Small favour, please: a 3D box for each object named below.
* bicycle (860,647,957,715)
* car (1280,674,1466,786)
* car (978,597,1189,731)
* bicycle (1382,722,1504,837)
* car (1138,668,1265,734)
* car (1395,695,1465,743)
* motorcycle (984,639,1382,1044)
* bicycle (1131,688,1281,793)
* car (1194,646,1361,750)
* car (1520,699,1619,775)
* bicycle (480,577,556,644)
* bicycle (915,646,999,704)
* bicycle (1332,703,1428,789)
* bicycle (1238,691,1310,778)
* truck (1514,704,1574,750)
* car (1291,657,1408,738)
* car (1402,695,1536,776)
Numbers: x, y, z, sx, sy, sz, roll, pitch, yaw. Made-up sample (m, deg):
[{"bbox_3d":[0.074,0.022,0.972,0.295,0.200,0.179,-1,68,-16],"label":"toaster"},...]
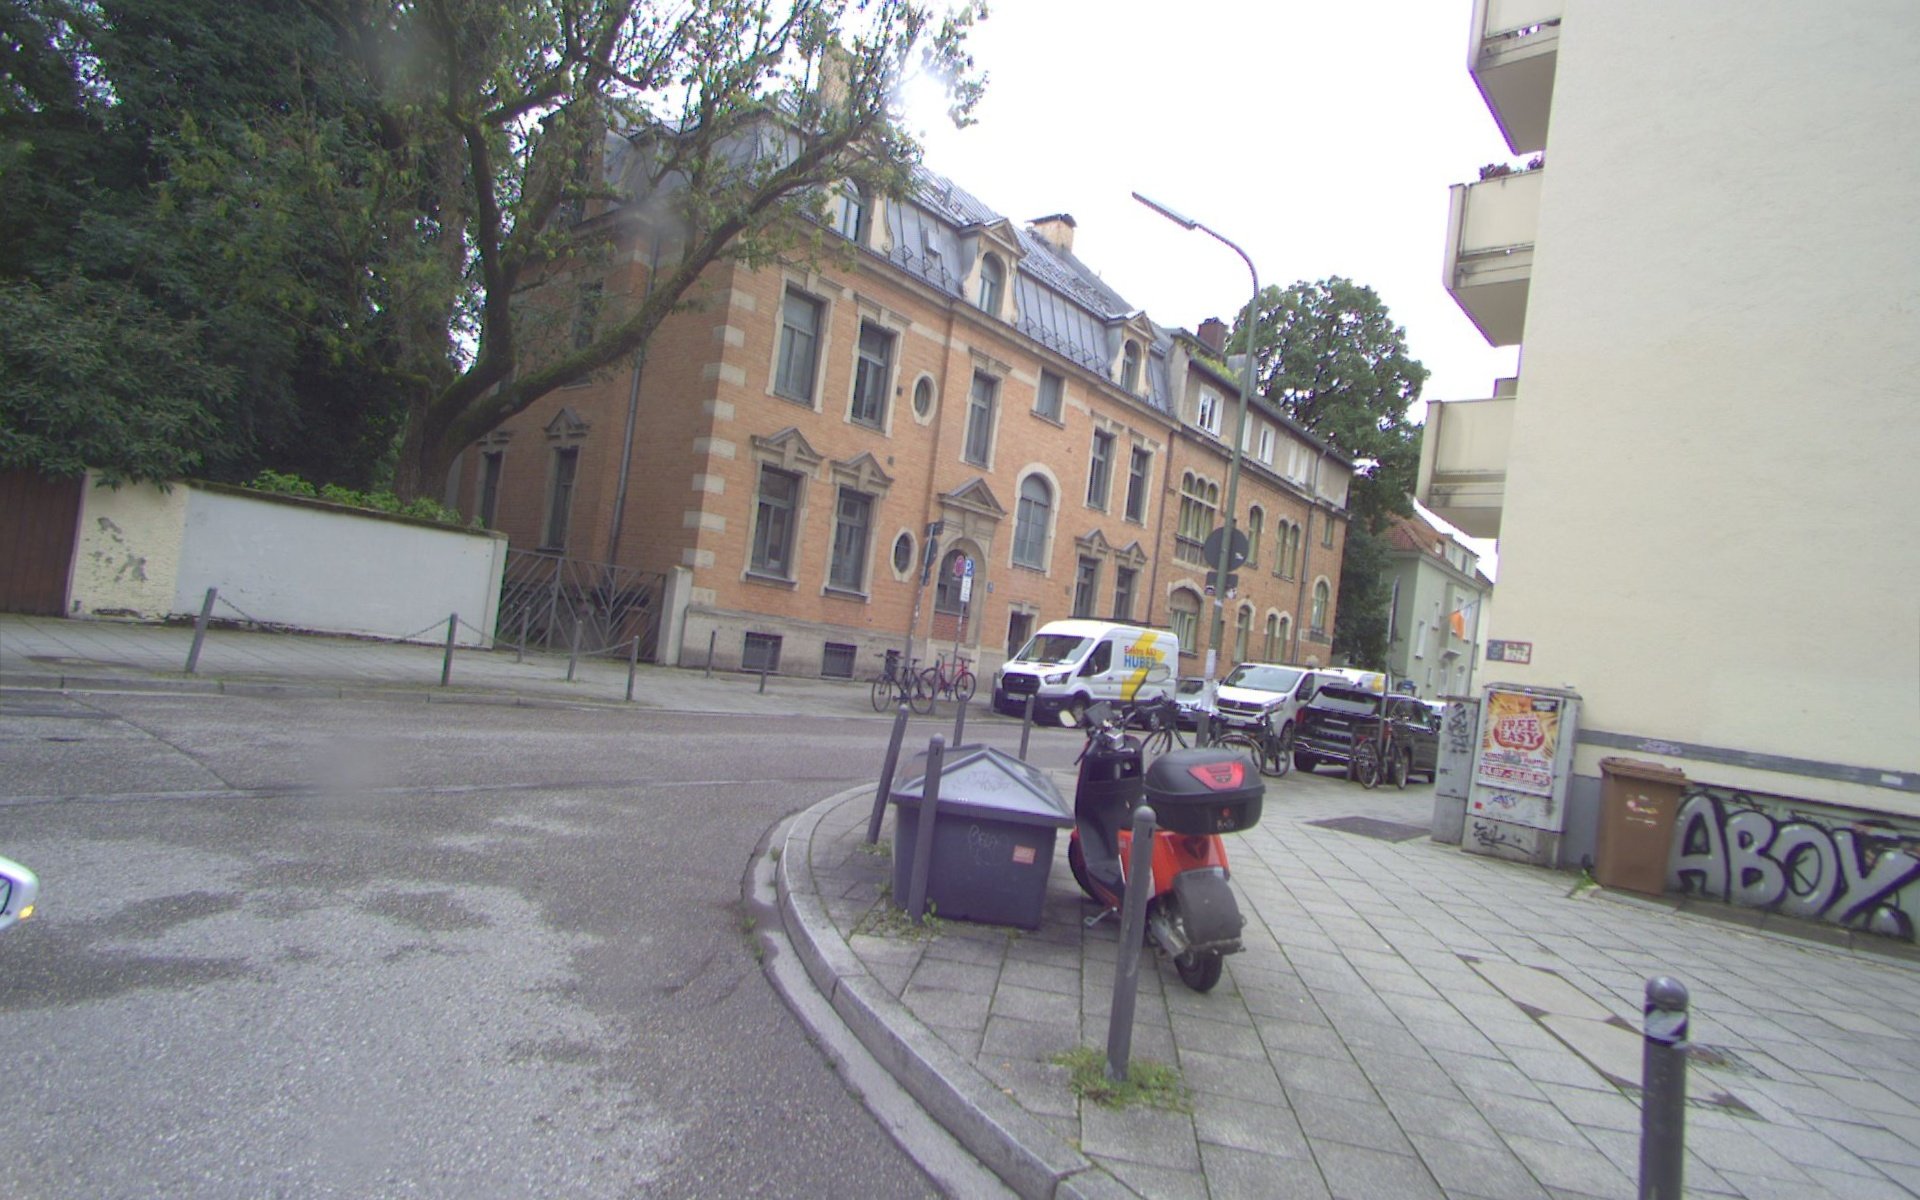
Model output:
[{"bbox_3d":[-0.931,1.511,18.528,0.574,1.066,1.754,5,-3,45],"label":"bicycle"},{"bbox_3d":[7.892,2.477,18.980,1.830,1.657,4.535,5,-4,40],"label":"car"},{"bbox_3d":[3.005,1.567,23.213,1.972,2.494,5.451,4,-5,41],"label":"car"},{"bbox_3d":[5.257,1.932,10.885,0.574,1.066,1.754,5,-3,44],"label":"bicycle"},{"bbox_3d":[6.699,2.791,27.603,1.672,1.470,3.982,3,-5,41],"label":"car"},{"bbox_3d":[20.854,5.292,44.548,1.800,1.730,3.989,6,-3,39],"label":"car"},{"bbox_3d":[0.884,0.968,4.777,0.805,1.372,2.078,8,-1,-15],"label":"motorcycle"},{"bbox_3d":[3.218,1.801,13.118,1.730,1.077,0.777,7,-2,19],"label":"bicycle"},{"bbox_3d":[7.842,2.457,24.543,2.017,2.065,4.941,6,-2,40],"label":"car"},{"bbox_3d":[19.249,4.338,31.666,1.849,1.989,4.801,5,-4,40],"label":"car"},{"bbox_3d":[-9.494,0.203,21.561,2.054,1.232,0.534,5,-3,41],"label":"bicycle"},{"bbox_3d":[-0.039,1.667,22.155,0.574,1.066,1.885,7,-2,45],"label":"bicycle"},{"bbox_3d":[6.469,2.261,15.426,0.574,1.167,1.953,5,-3,45],"label":"bicycle"},{"bbox_3d":[4.789,2.031,15.262,0.571,1.167,1.963,6,-3,28],"label":"bicycle"},{"bbox_3d":[35.801,7.802,61.586,1.973,2.344,5.389,5,-4,42],"label":"truck"},{"bbox_3d":[14.237,3.589,36.564,2.114,2.375,5.350,5,-4,41],"label":"car"},{"bbox_3d":[12.065,3.212,23.684,1.708,1.476,4.401,8,-2,40],"label":"car"}]
